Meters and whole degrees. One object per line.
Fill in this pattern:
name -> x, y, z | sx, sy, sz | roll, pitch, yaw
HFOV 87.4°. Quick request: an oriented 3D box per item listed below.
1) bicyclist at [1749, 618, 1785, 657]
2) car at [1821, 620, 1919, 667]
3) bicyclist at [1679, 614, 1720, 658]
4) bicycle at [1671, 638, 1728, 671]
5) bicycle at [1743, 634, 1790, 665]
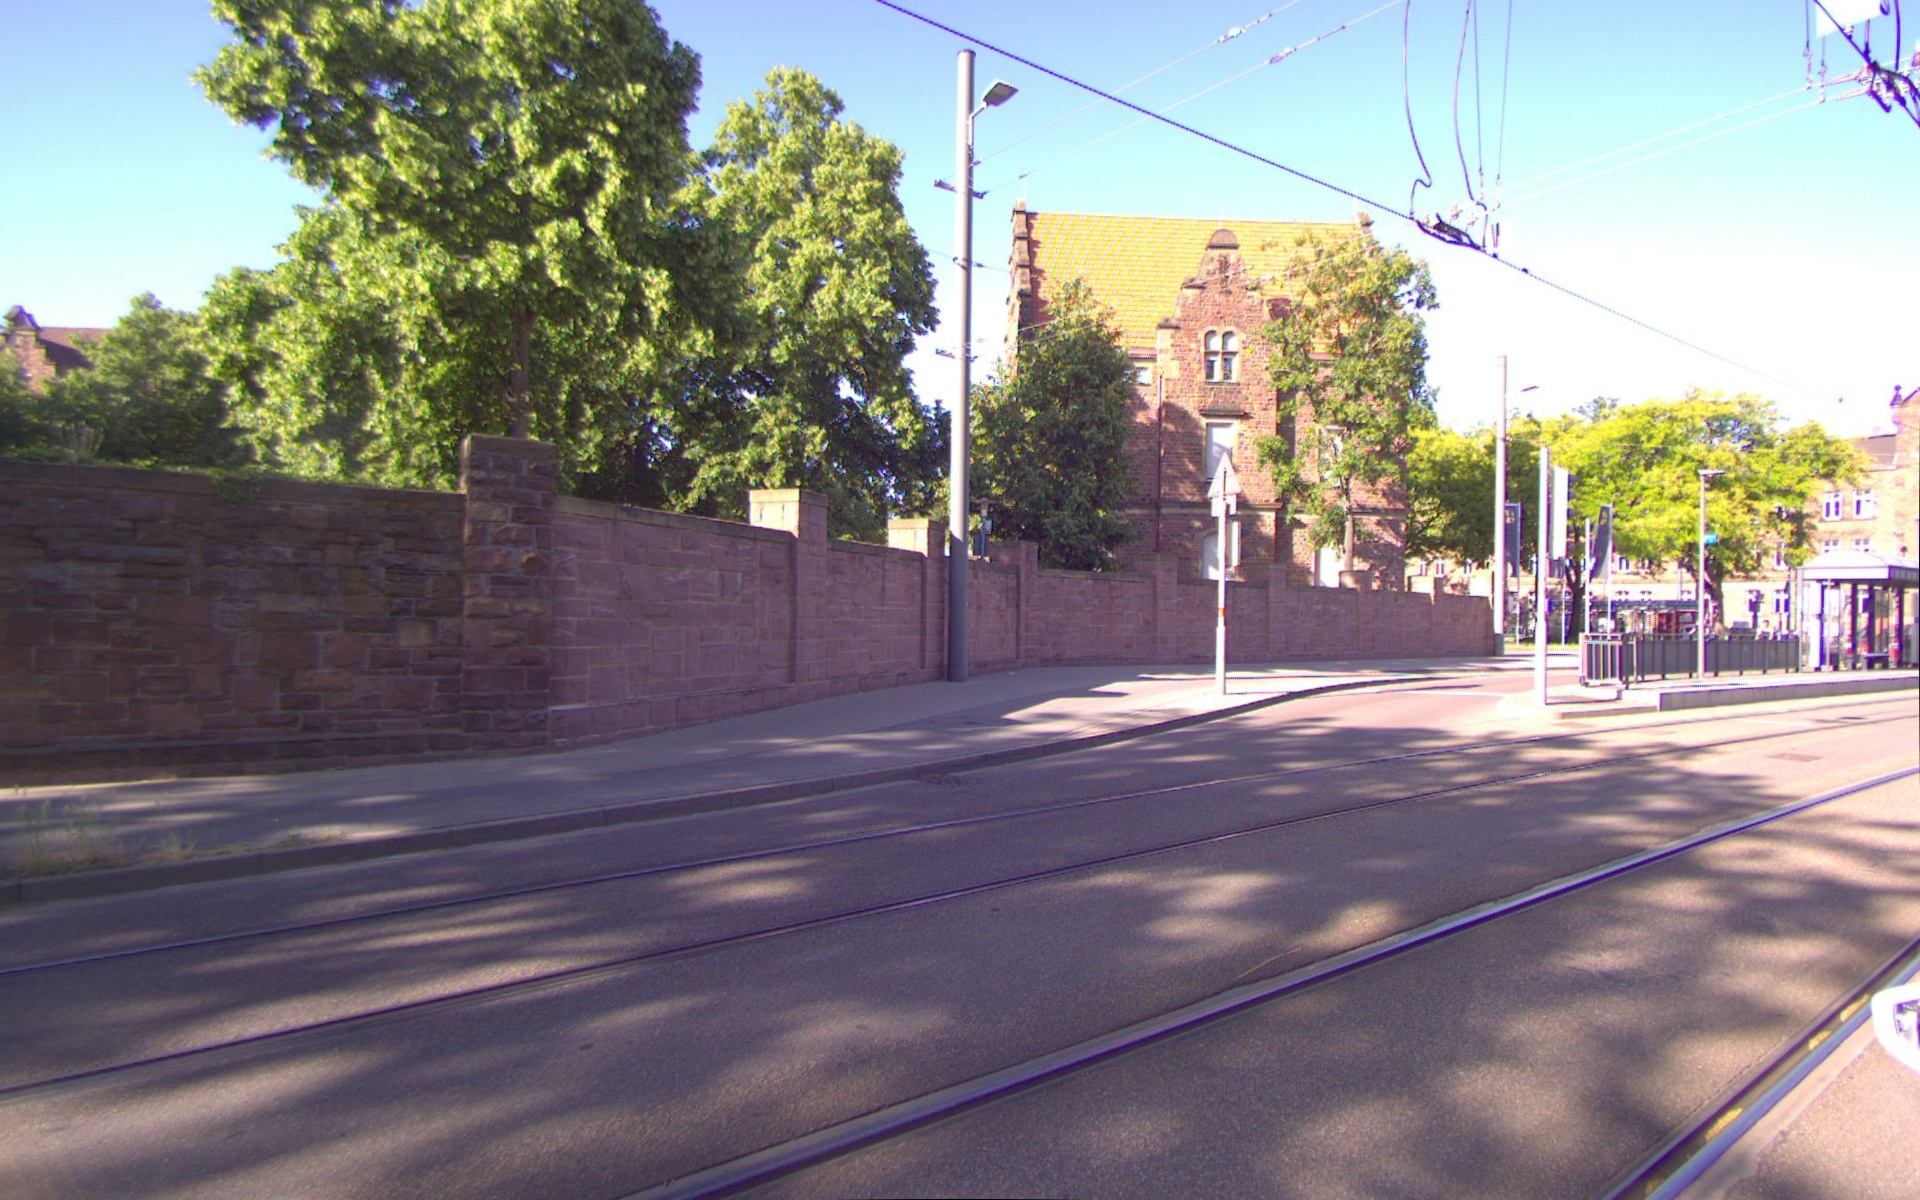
bicyclist -> 30.799, 1.432, 38.335 | 1.137, 1.478, 0.650 | 1, 0, -27
car -> 34.375, 1.607, 37.827 | 4.312, 1.628, 1.807 | 1, -1, -33
bicyclist -> 25.642, 1.244, 34.821 | 1.136, 1.478, 0.651 | 1, 0, -23
bicycle -> 25.637, 1.875, 34.813 | 2.035, 1.103, 0.682 | 1, 0, -24
bicycle -> 30.805, 1.902, 38.357 | 1.832, 1.102, 0.682 | 4, -5, -28
